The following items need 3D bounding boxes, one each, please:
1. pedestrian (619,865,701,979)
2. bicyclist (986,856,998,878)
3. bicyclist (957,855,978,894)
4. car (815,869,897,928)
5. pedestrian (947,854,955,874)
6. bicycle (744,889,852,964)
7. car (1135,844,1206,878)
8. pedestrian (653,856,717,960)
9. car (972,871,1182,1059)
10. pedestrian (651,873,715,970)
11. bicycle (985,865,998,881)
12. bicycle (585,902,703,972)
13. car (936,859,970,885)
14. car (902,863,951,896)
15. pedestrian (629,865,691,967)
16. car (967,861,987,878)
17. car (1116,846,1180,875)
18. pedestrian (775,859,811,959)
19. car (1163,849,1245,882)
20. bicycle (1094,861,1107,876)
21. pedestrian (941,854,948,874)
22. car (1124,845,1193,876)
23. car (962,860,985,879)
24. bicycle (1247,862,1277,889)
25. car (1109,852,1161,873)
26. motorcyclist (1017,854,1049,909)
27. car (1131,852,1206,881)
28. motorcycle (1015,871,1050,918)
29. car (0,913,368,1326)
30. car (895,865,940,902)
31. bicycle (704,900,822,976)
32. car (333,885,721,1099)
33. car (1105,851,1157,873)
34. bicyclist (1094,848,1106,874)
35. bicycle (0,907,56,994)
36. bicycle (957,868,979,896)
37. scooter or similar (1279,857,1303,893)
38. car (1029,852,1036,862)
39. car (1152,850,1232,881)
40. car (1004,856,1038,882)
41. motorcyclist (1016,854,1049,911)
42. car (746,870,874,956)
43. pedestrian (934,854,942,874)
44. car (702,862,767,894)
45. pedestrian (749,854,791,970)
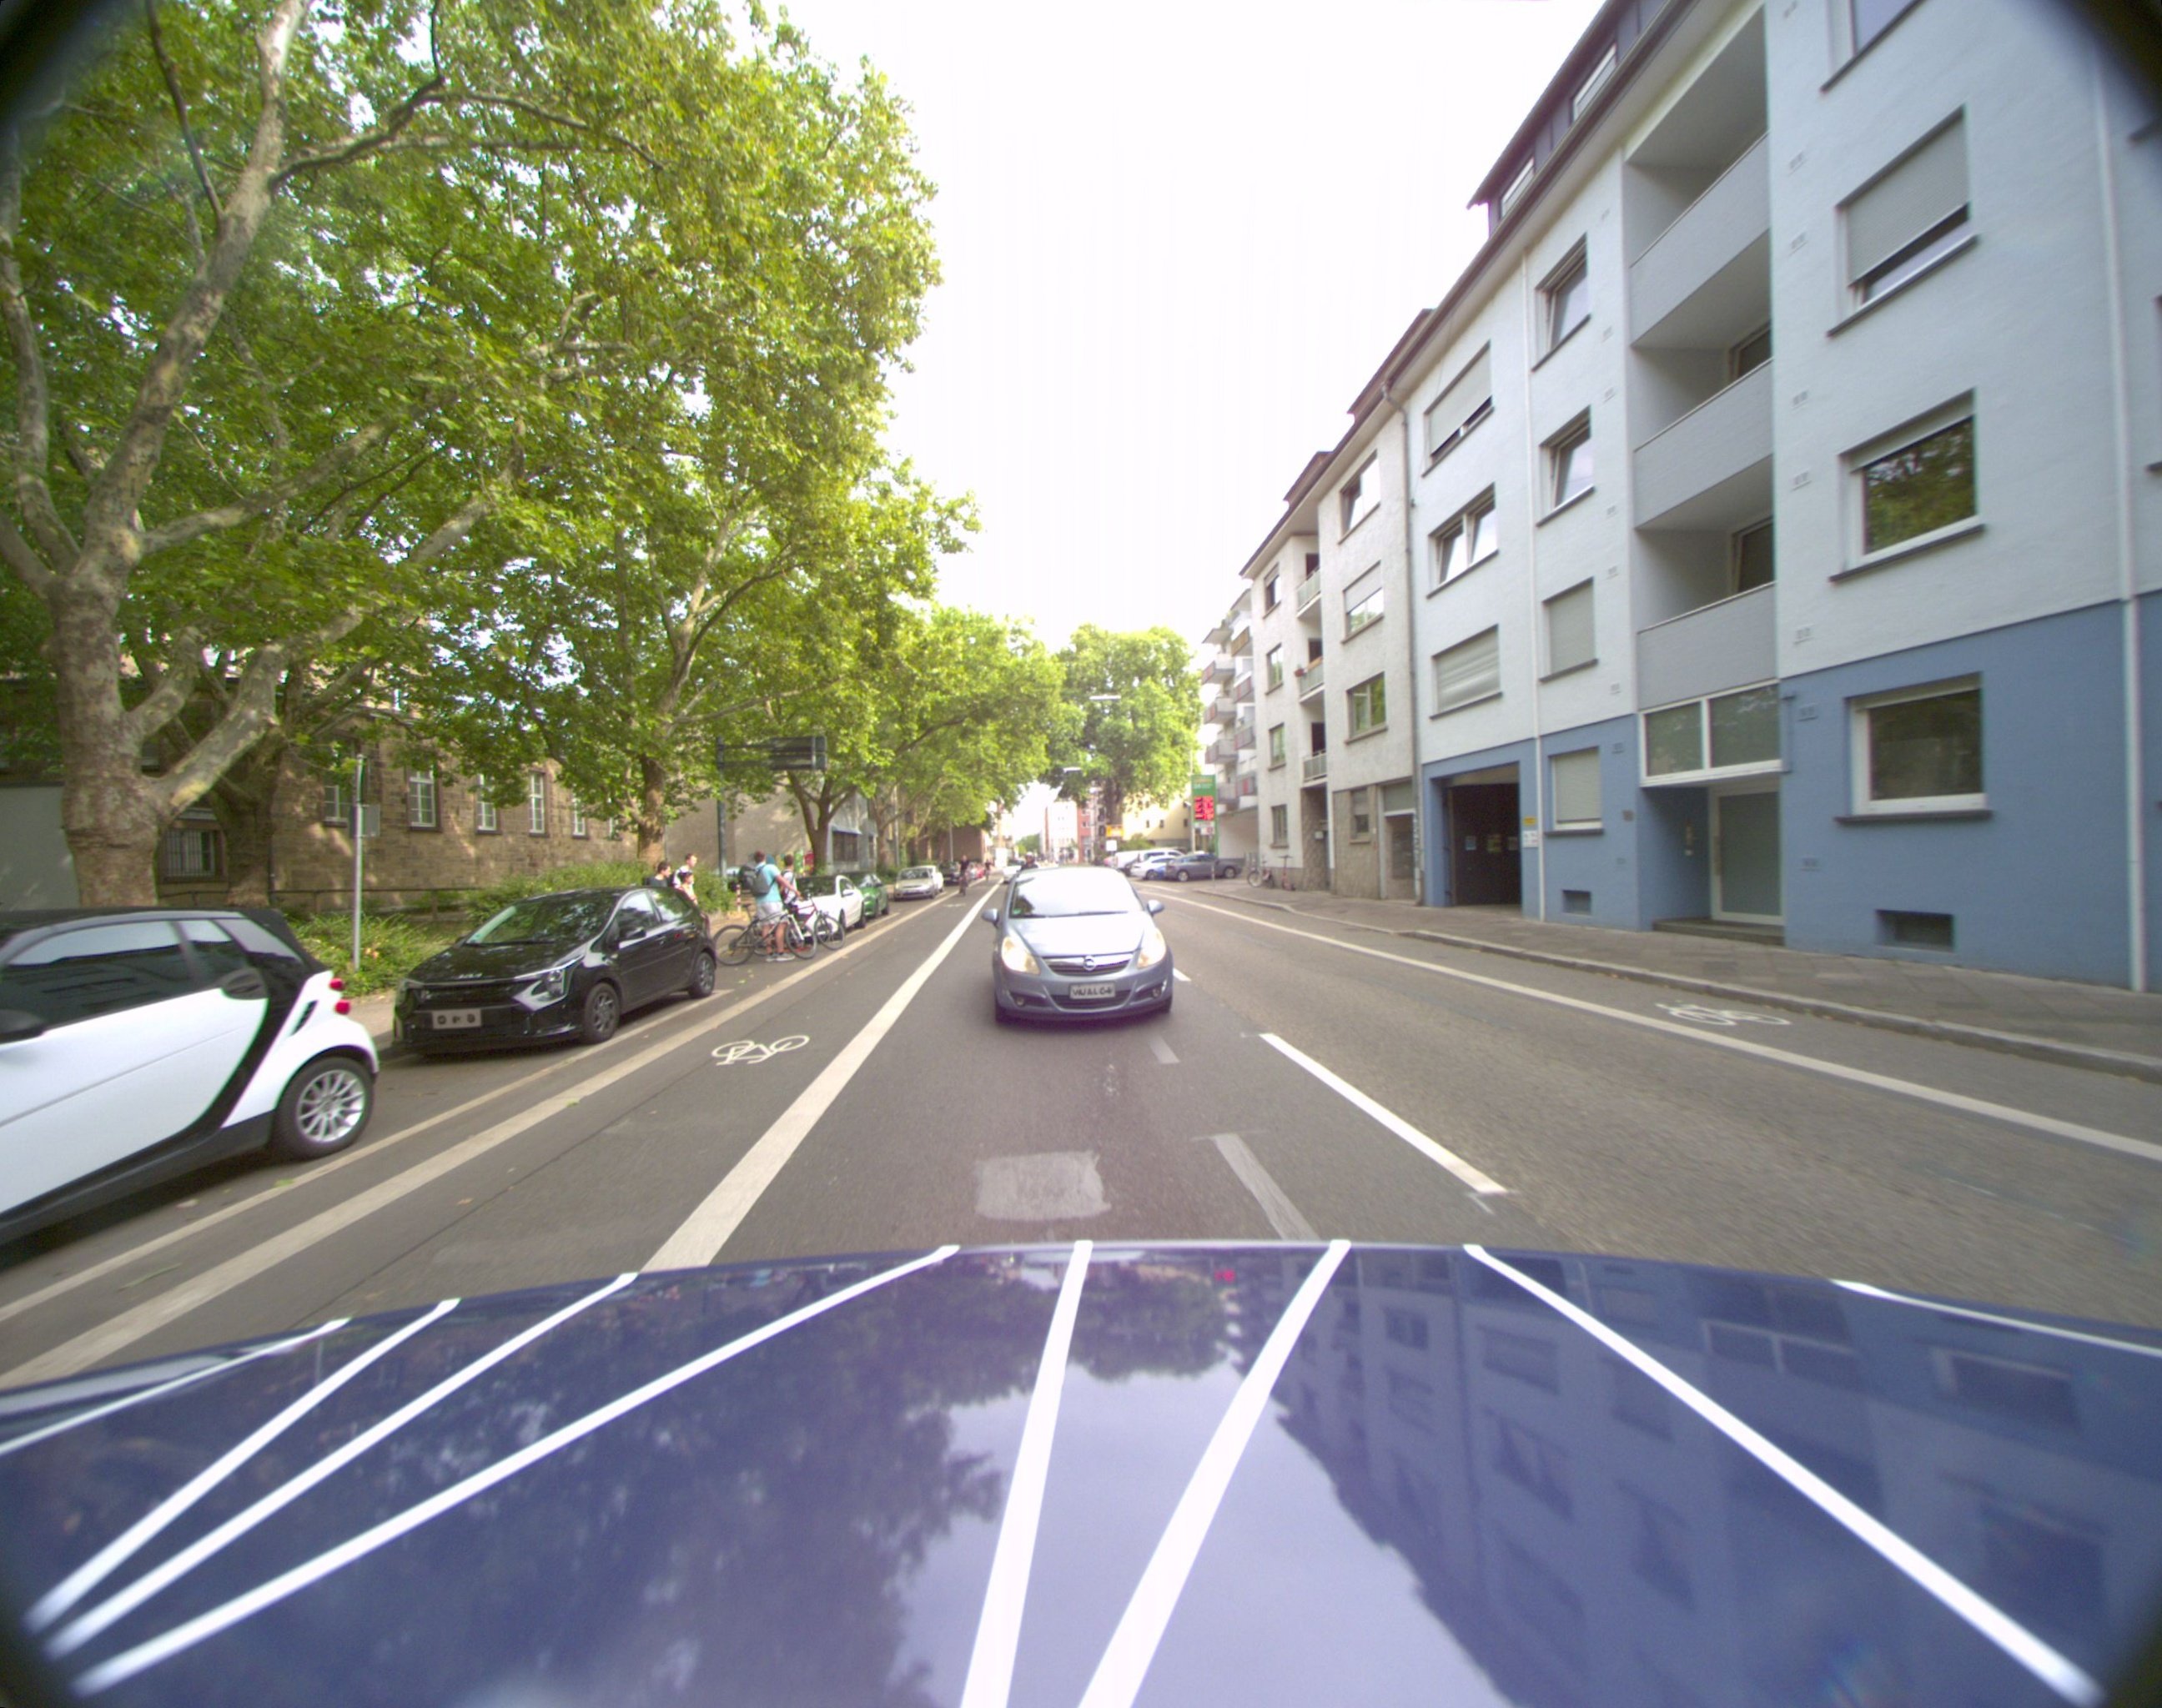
[{"bbox_3d":[-7.083,1.123,12.829,0.873,1.806,0.779,-3,1,-4],"label":"pedestrian"},{"bbox_3d":[-6.619,0.986,56.312,0.749,1.590,0.819,-3,1,-4],"label":"bicyclist"},{"bbox_3d":[-5.129,0.910,34.414,0.764,1.699,0.917,-3,1,-4],"label":"bicyclist"},{"bbox_3d":[-6.621,1.255,22.717,1.592,1.441,3.803,-4,0,-6],"label":"car"},{"bbox_3d":[-11.652,0.905,68.214,0.592,1.775,0.476,2,1,-5],"label":"pedestrian"},{"bbox_3d":[-5.277,1.325,14.212,1.796,1.210,0.552,-3,1,-21],"label":"bicycle"},{"bbox_3d":[5.823,0.458,49.784,4.223,1.837,1.923,-4,0,-4],"label":"car"},{"bbox_3d":[-7.925,1.054,15.247,0.795,1.986,0.749,-3,1,-4],"label":"pedestrian"},{"bbox_3d":[-0.177,0.970,8.505,1.717,1.412,4.251,-2,0,-4],"label":"car"},{"bbox_3d":[-7.117,1.191,13.607,0.723,1.648,0.654,-3,1,-4],"label":"pedestrian"},{"bbox_3d":[-6.609,1.406,56.309,0.763,1.162,1.949,-3,0,-4],"label":"bicycle"},{"bbox_3d":[-8.075,1.519,14.107,1.774,1.125,0.462,-3,1,-16],"label":"bicycle"},{"bbox_3d":[-8.740,1.187,52.111,1.926,1.612,4.479,-4,0,-6],"label":"car"},{"bbox_3d":[-7.810,1.272,38.718,1.759,1.438,4.217,-4,0,-4],"label":"car"},{"bbox_3d":[-8.030,1.160,14.526,0.723,1.844,0.703,-3,1,-4],"label":"pedestrian"},{"bbox_3d":[-9.954,1.482,72.891,1.603,1.438,4.103,-4,0,-4],"label":"car"},{"bbox_3d":[5.151,0.471,58.994,4.629,1.848,1.949,-4,0,-3],"label":"car"},{"bbox_3d":[-5.471,1.018,14.462,0.522,1.834,0.743,-3,1,-19],"label":"pedestrian"},{"bbox_3d":[6.833,0.632,42.567,4.162,1.504,1.836,-4,0,-4],"label":"car"},{"bbox_3d":[1.415,1.034,55.458,0.648,1.008,2.076,-3,1,-4],"label":"bicycle"},{"bbox_3d":[-12.252,0.923,68.316,0.502,1.775,0.527,2,1,-5],"label":"pedestrian"},{"bbox_3d":[5.727,0.465,56.565,4.780,1.923,1.993,-4,0,-3],"label":"car"},{"bbox_3d":[-9.551,1.380,67.588,1.603,1.496,4.439,-4,0,-4],"label":"car"},{"bbox_3d":[6.853,0.806,28.858,0.598,0.945,1.662,-3,0,-4],"label":"bicycle"},{"bbox_3d":[4.821,0.741,68.052,4.374,1.540,1.732,-4,0,-3],"label":"car"},{"bbox_3d":[-1.437,0.815,22.754,0.905,1.608,0.691,-2,1,-4],"label":"motorcyclist"},{"bbox_3d":[5.397,0.740,47.040,4.283,1.442,1.873,-4,0,-4],"label":"car"},{"bbox_3d":[-1.402,1.132,22.045,0.905,1.190,2.629,-2,0,-4],"label":"motorcycle"},{"bbox_3d":[-5.174,1.179,3.348,1.540,1.534,2.598,-3,0,-2],"label":"car"},{"bbox_3d":[-7.310,1.271,34.208,1.648,1.438,3.880,-4,0,-9],"label":"car"},{"bbox_3d":[-5.368,1.398,12.916,1.741,1.099,0.551,-3,1,-15],"label":"bicycle"},{"bbox_3d":[-5.393,1.202,8.064,1.532,1.493,3.658,-3,0,-4],"label":"car"},{"bbox_3d":[4.572,0.736,70.354,4.531,1.596,1.753,-4,0,-3],"label":"car"},{"bbox_3d":[1.396,0.504,55.392,0.653,1.800,1.045,-3,1,-4],"label":"bicyclist"},{"bbox_3d":[-15.110,1.304,10.165,1.680,1.111,0.604,-1,0,-10],"label":"bicycle"},{"bbox_3d":[-5.108,1.265,34.342,0.763,1.162,1.949,-3,0,-4],"label":"bicycle"},{"bbox_3d":[7.233,0.706,26.174,0.350,1.214,1.201,-3,0,-4],"label":"scooter or similar"},{"bbox_3d":[-13.878,0.829,217.084,1.999,2.546,4.797,-2,0,-4],"label":"car"},{"bbox_3d":[6.512,0.672,44.838,4.312,1.442,1.910,-4,0,-4],"label":"car"},{"bbox_3d":[-3.897,0.941,49.442,2.001,1.556,4.549,-2,0,-4],"label":"car"},{"bbox_3d":[-1.407,0.821,22.045,0.905,1.608,0.691,-2,1,-4],"label":"motorcyclist"},{"bbox_3d":[-6.068,1.225,17.553,1.685,1.507,4.541,-4,0,-6],"label":"car"},{"bbox_3d":[-12.896,0.904,68.588,0.644,1.823,0.645,2,1,-5],"label":"pedestrian"},{"bbox_3d":[-17.342,1.200,38.232,1.674,1.441,4.297,-2,-2,-6],"label":"car"},{"bbox_3d":[-5.394,0.982,13.203,0.476,1.923,0.744,-3,1,-15],"label":"pedestrian"}]
